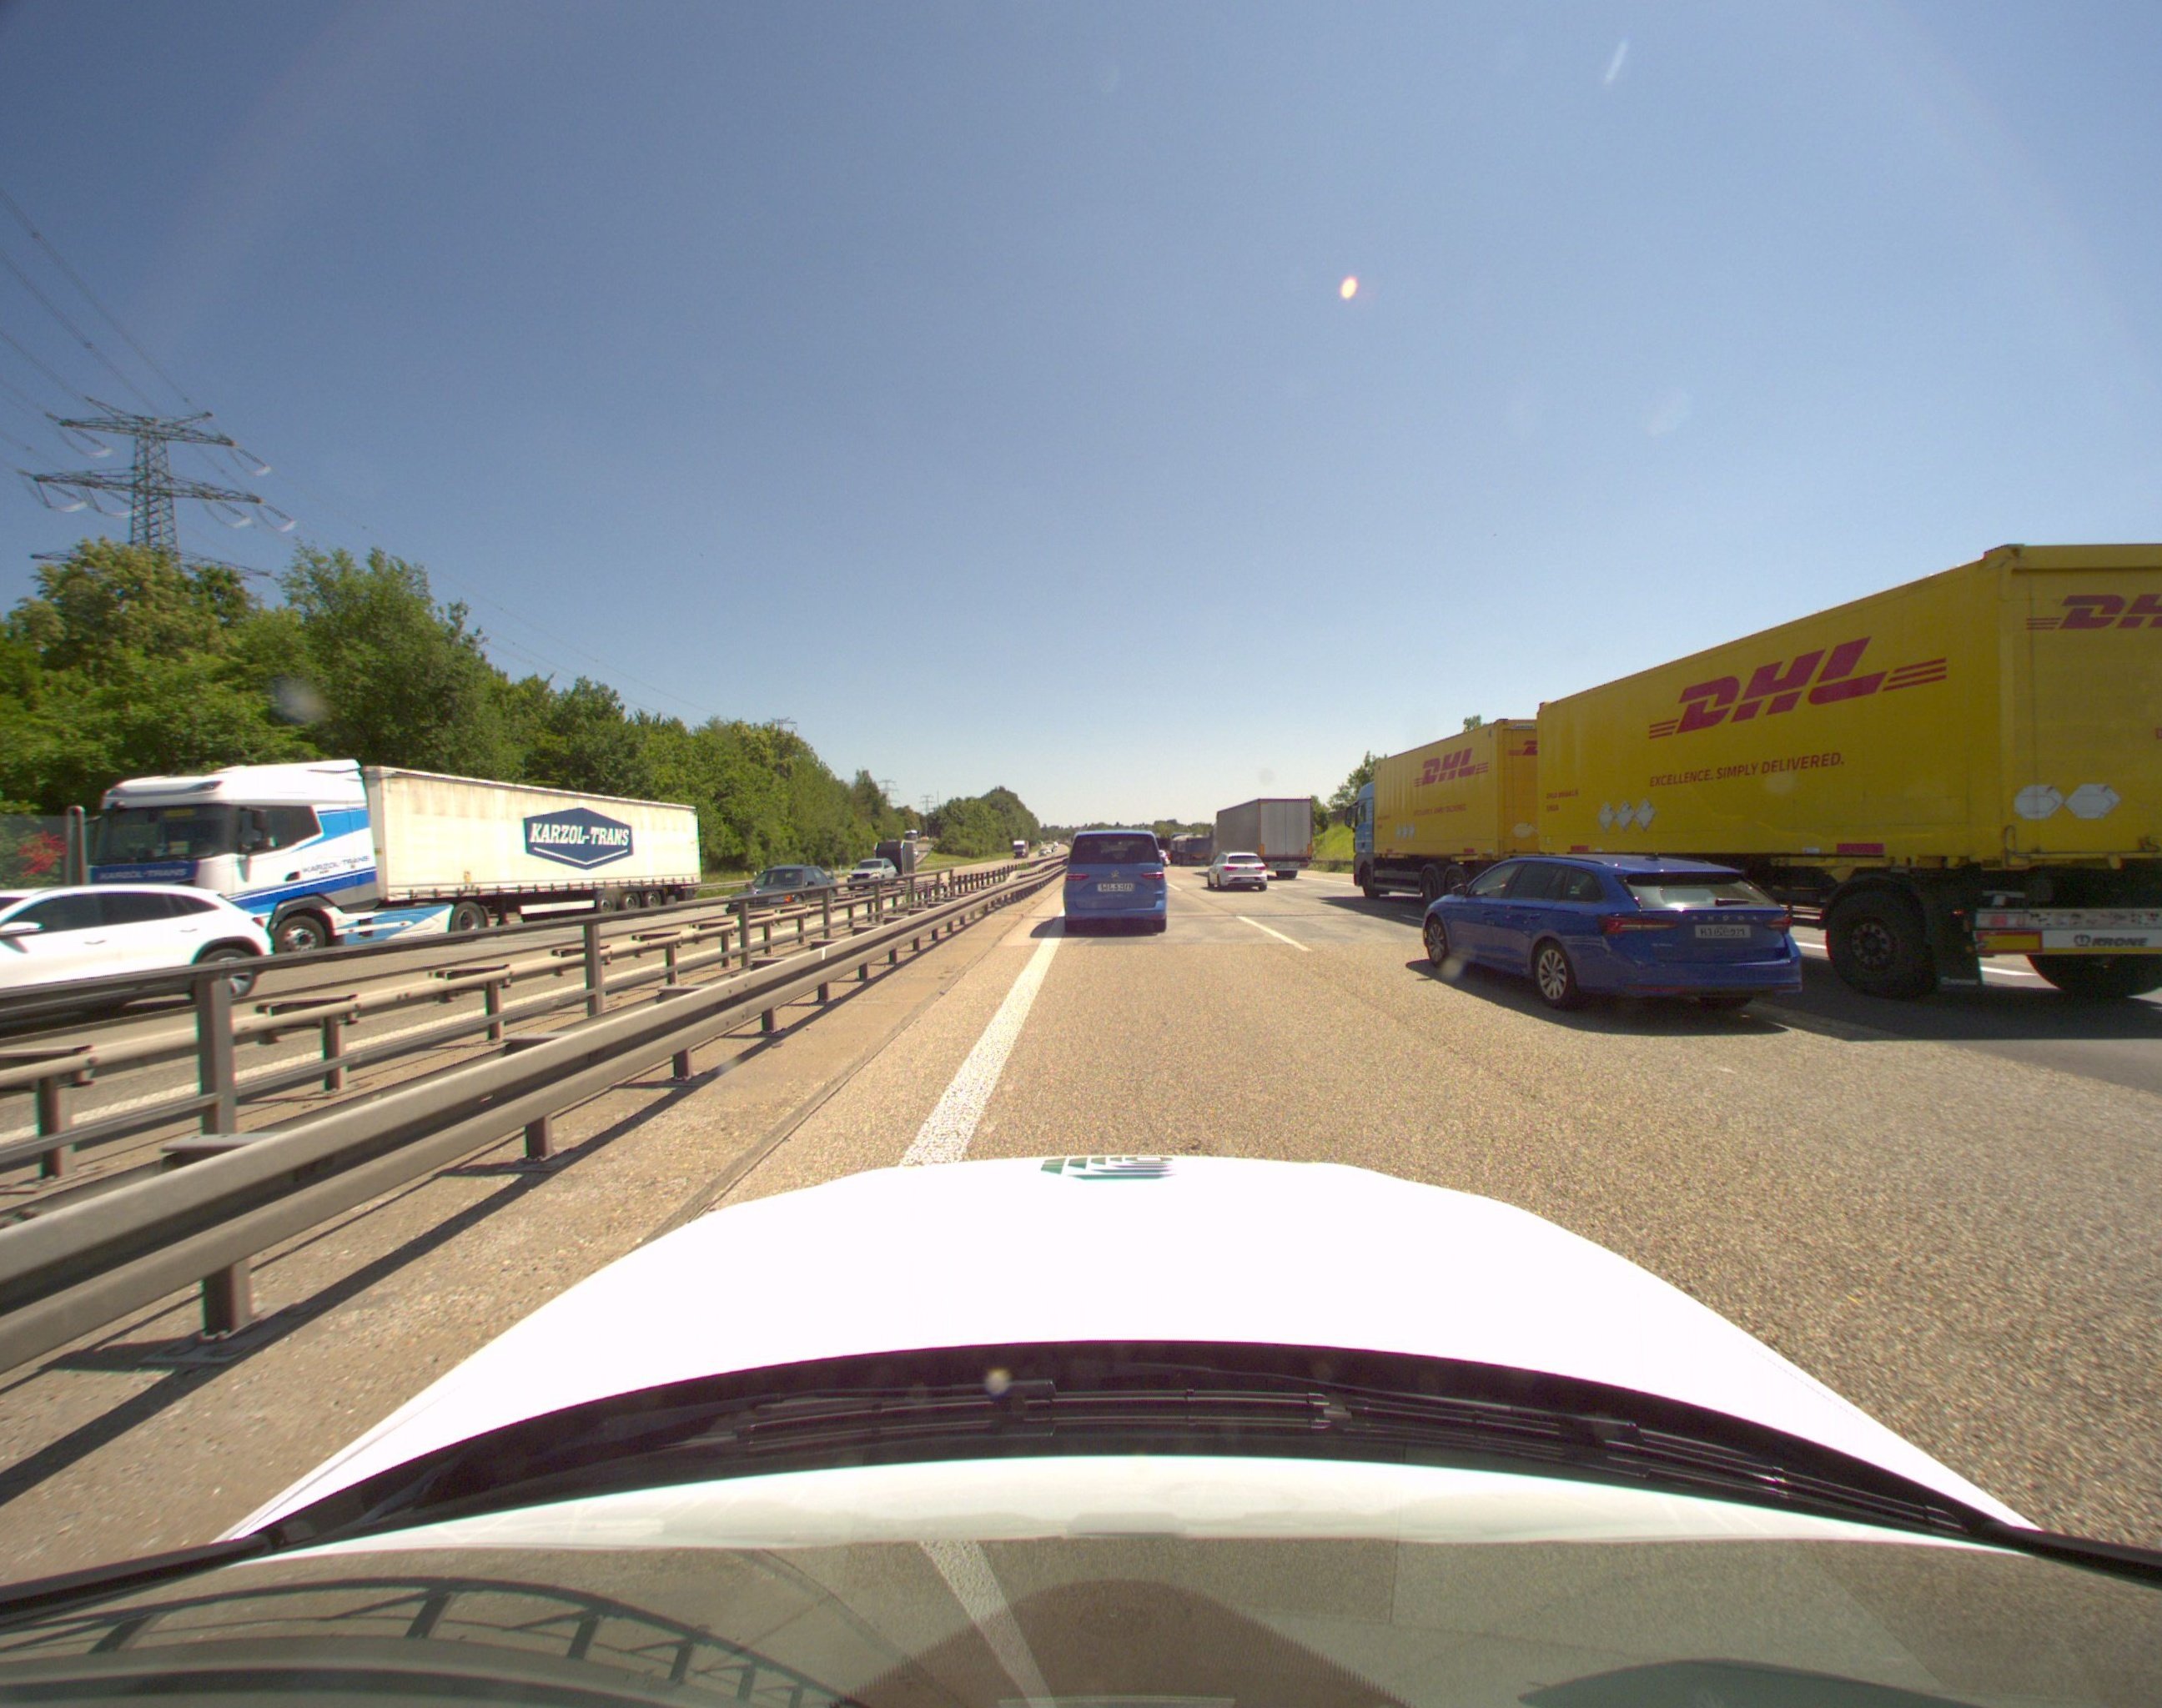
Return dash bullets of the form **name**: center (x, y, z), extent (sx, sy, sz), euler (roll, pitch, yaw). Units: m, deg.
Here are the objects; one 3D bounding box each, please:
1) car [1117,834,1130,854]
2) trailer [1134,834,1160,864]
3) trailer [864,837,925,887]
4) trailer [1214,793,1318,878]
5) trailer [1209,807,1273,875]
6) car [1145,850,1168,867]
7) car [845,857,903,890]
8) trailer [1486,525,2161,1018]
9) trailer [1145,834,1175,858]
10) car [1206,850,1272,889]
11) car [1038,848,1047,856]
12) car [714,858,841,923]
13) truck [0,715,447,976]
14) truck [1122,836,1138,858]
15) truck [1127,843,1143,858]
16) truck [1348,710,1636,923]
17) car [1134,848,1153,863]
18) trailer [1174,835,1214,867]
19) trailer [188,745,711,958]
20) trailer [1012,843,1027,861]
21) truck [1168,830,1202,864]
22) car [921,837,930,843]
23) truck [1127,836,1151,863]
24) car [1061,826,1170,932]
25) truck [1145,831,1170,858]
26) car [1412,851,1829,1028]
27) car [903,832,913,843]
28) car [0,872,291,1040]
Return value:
- **car**: center (11.317, -2.594, 217.614), extent (3.208, 5.257, 8.142), euler (0, -1, 0)
- **trailer**: center (11.682, -0.775, 144.485), extent (3.634, 5.136, 13.074), euler (0, -1, 0)
- **trailer**: center (-11.455, 0.518, 50.504), extent (2.158, 2.777, 5.378), euler (-5, -1, 2)
- **trailer**: center (9.986, -0.897, 45.846), extent (2.952, 4.049, 13.754), euler (-1, 0, 1)
- **trailer**: center (10.098, -0.800, 52.073), extent (2.914, 4.043, 6.412), euler (-1, 0, 1)
- **car**: center (6.637, 0.391, 72.368), extent (1.833, 1.454, 4.002), euler (0, -1, 2)
- **car**: center (-11.498, 1.054, 45.576), extent (1.864, 1.625, 4.630), euler (-3, -1, 2)
- **trailer**: center (9.225, -0.700, 11.488), extent (2.754, 4.117, 9.383), euler (0, 0, 3)
- **trailer**: center (11.362, -1.050, 118.138), extent (3.631, 3.079, 15.783), euler (0, 0, 3)
- **car**: center (5.831, 0.543, 30.530), extent (1.860, 1.361, 4.002), euler (0, 0, 2)
- **car**: center (-9.563, -0.380, 203.189), extent (1.986, 1.941, 4.899), euler (0, -1, 2)
- **car**: center (-7.988, 0.906, 21.847), extent (1.785, 1.572, 4.001), euler (0, -1, 2)
- **truck**: center (-16.671, -0.123, 16.248), extent (3.992, 4.228, 4.859), euler (-3, -1, 1)
- **truck**: center (11.201, -1.604, 186.338), extent (3.058, 4.920, 10.690), euler (0, -1, 1)
- **truck**: center (6.744, -0.458, 102.180), extent (1.719, 1.857, 4.000), euler (0, -1, 1)
- **truck**: center (9.537, -0.729, 20.681), extent (2.754, 4.109, 9.960), euler (0, 0, 3)
- **car**: center (6.803, 0.191, 88.398), extent (1.775, 1.524, 4.000), euler (0, -1, 1)
- **trailer**: center (10.578, -0.378, 76.944), extent (2.734, 2.836, 9.118), euler (0, 1, 1)
- **trailer**: center (-16.390, 0.010, 24.032), extent (3.974, 4.235, 14.045), euler (-3, -1, 2)
- **trailer**: center (-13.926, -0.436, 184.606), extent (2.747, 3.976, 6.132), euler (-3, 0, 1)
- **truck**: center (10.709, -0.770, 84.273), extent (2.734, 3.311, 7.134), euler (0, 1, 1)
- **car**: center (-46.662, -4.192, 244.388), extent (1.942, 1.510, 4.372), euler (0, -1, -18)
- **truck**: center (11.760, -0.760, 166.107), extent (3.610, 5.212, 15.683), euler (0, -1, -1)
- **car**: center (0.686, 0.452, 16.195), extent (1.894, 1.838, 4.002), euler (0, -1, 2)
- **truck**: center (11.807, -1.390, 126.558), extent (3.611, 4.094, 7.530), euler (0, -1, 3)
- **car**: center (5.291, 0.694, 8.846), extent (1.700, 1.441, 4.429), euler (0, 0, 1)
- **car**: center (-49.441, -4.677, 232.637), extent (2.074, 2.880, 6.691), euler (-2, -1, -18)
- **car**: center (-12.008, 1.120, 9.193), extent (1.742, 1.696, 4.387), euler (-3, -1, 2)
